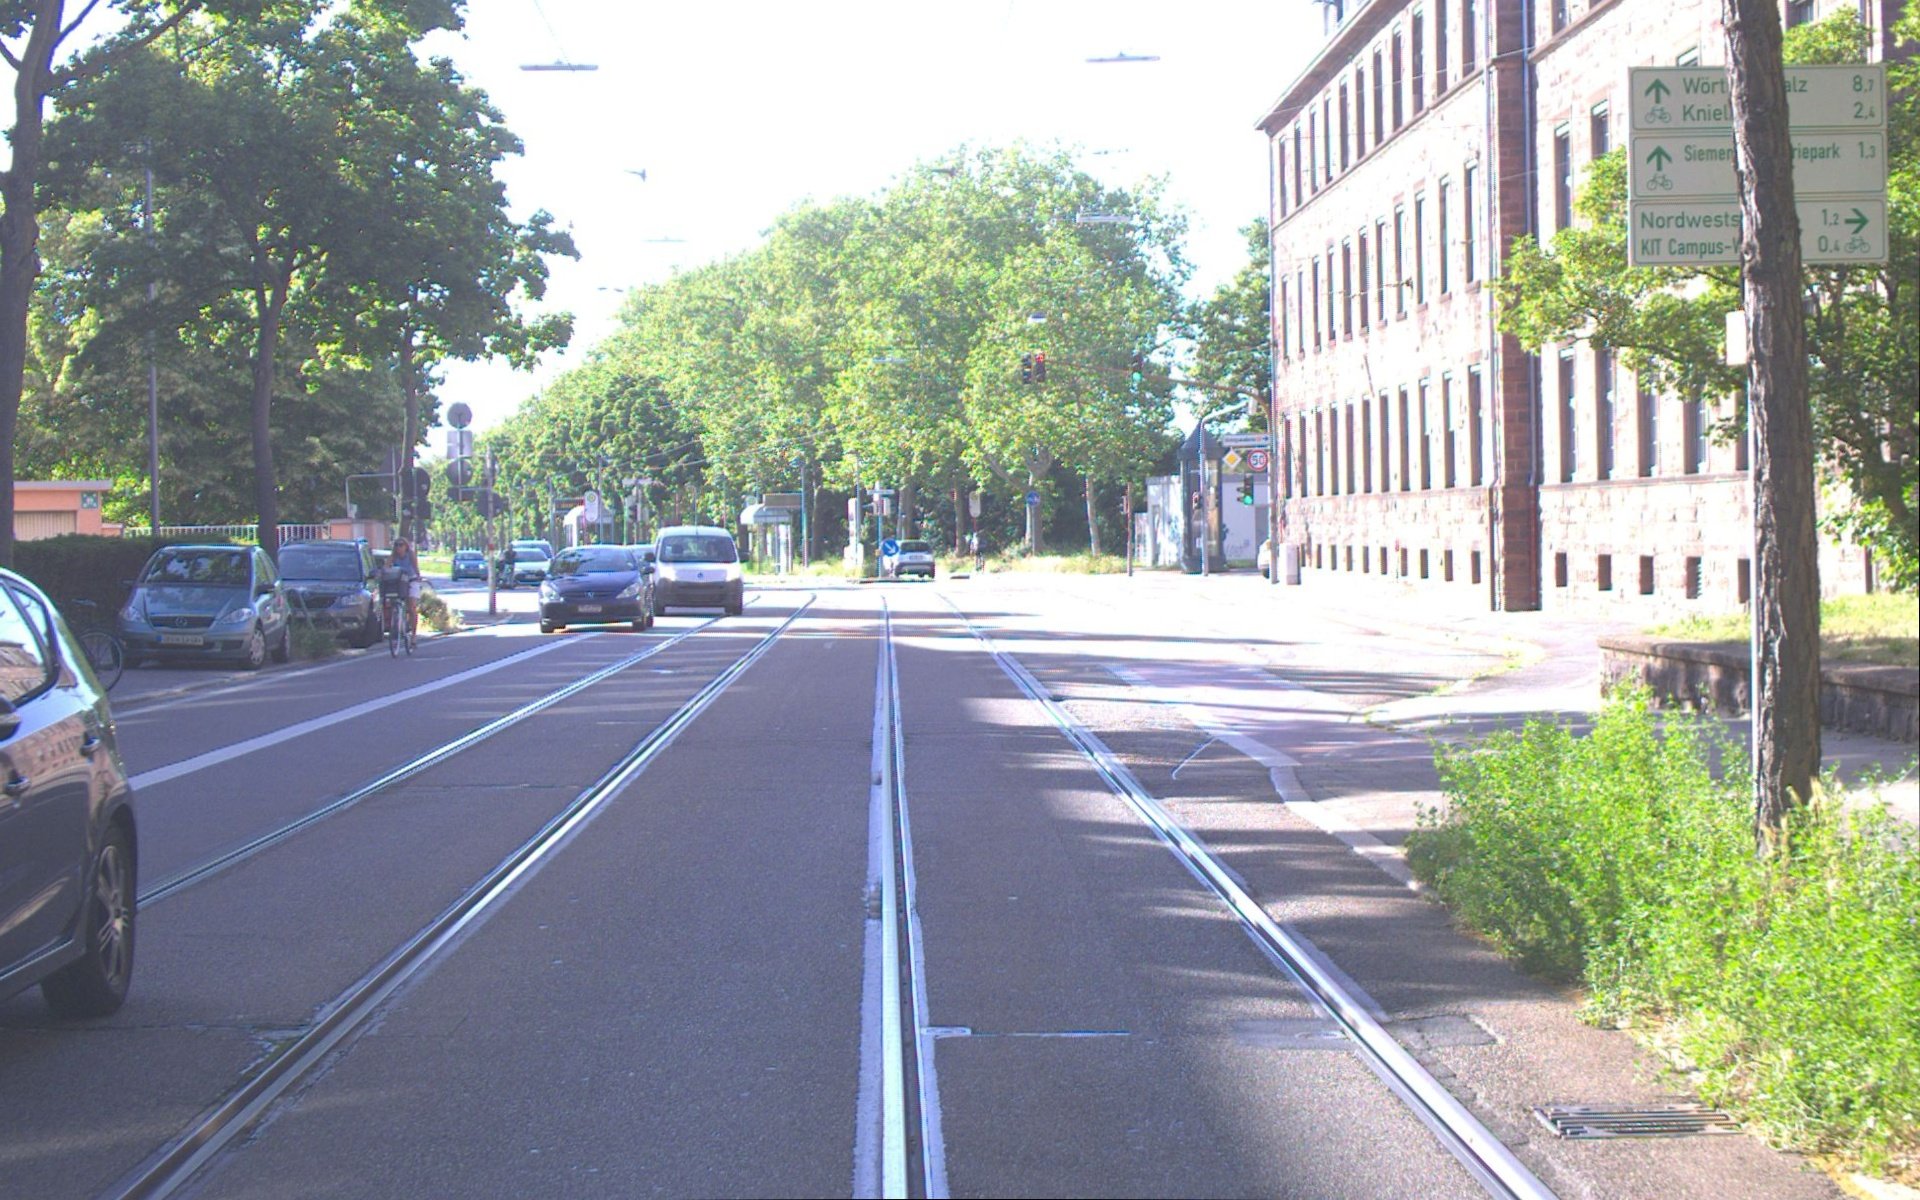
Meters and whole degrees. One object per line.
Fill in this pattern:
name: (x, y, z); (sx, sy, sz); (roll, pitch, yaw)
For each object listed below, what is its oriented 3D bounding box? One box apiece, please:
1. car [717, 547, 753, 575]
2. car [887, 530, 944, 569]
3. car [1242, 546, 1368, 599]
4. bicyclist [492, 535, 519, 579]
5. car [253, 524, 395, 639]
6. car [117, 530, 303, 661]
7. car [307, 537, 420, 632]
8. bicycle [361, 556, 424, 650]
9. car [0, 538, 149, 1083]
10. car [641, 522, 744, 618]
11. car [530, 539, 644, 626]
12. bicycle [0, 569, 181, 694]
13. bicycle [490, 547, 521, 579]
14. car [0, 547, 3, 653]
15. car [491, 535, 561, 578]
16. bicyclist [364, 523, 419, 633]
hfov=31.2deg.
car: (-13.257, -2.313, 202.335); (1.942, 1.605, 4.001); (-1, 1, -7)
car: (-1.863, -2.090, 141.726); (1.942, 1.605, 4.001); (-1, 1, -6)
car: (10.965, -0.882, 109.406); (3.566, 1.649, 1.845); (-1, 1, -13)
bicyclist: (-15.699, -1.477, 118.713); (0.749, 1.499, 0.964); (-1, 1, -16)
car: (-9.815, -0.320, 53.302); (1.745, 1.655, 4.392); (2, 1, -6)
car: (-9.711, -0.099, 44.773); (1.745, 1.564, 4.070); (2, 1, -4)
car: (-10.071, -0.288, 58.242); (1.581, 1.483, 3.613); (2, 1, -6)
bicycle: (-7.694, 0.030, 46.659); (0.557, 1.194, 2.292); (-4, 1, -4)
car: (-3.442, 0.573, 9.261); (1.699, 1.466, 4.072); (0, 1, -2)
car: (-5.397, -0.637, 69.800); (1.809, 1.882, 4.441); (0, 1, -1)
car: (-6.225, -0.319, 57.546); (1.809, 1.382, 4.441); (-1, 1, -6)
bicycle: (-9.184, 0.308, 35.153); (2.285, 1.194, 0.559); (2, 2, 6)
bicycle: (-15.709, -1.273, 118.752); (0.749, 1.083, 2.178); (-1, 1, -16)
car: (-9.297, 0.286, 28.315); (1.745, 1.485, 4.324); (2, 1, -2)
car: (-15.467, -1.558, 122.393); (1.993, 1.499, 4.001); (-1, 1, -15)
bicyclist: (-7.719, -0.305, 46.665); (0.557, 1.451, 0.869); (-4, 1, -4)
